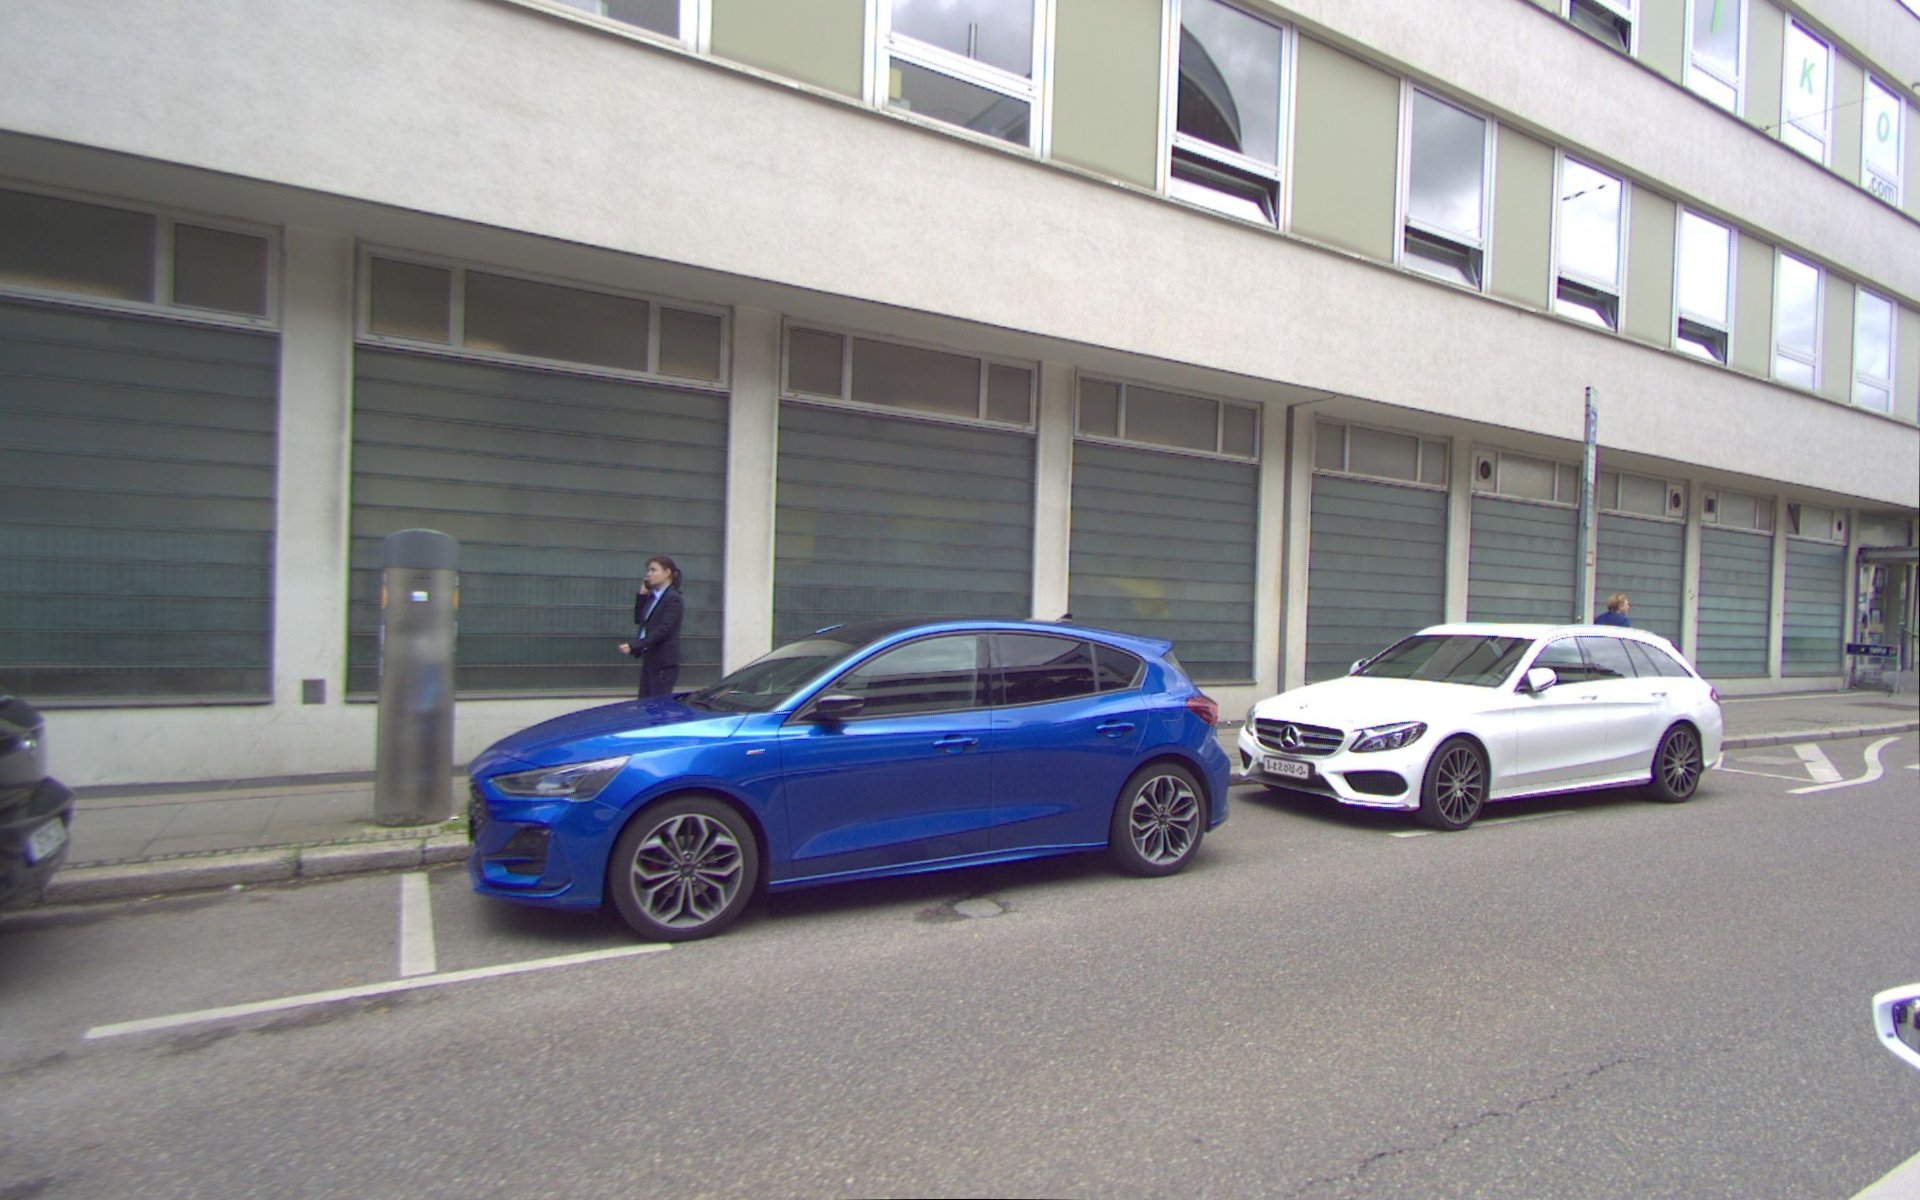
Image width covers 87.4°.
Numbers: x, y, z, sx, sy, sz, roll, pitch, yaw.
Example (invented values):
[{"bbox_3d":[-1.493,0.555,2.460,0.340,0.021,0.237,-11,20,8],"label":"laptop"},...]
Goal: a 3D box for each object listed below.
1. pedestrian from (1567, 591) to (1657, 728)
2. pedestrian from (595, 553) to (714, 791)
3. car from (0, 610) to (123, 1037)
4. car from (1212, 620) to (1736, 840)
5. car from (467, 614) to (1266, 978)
[{"bbox_3d":[8.647,0.762,13.314,1.043,1.741,0.586,1,0,-32],"label":"pedestrian"},{"bbox_3d":[-2.361,0.530,7.779,0.582,1.741,0.647,1,0,39],"label":"pedestrian"},{"bbox_3d":[-5.281,0.735,3.148,3.827,1.444,1.707,1,-1,-32],"label":"car"},{"bbox_3d":[4.393,0.912,8.422,4.495,1.453,1.663,1,-1,-28],"label":"car"},{"bbox_3d":[-0.471,0.832,5.763,4.209,1.444,1.809,1,-1,-27],"label":"car"}]
